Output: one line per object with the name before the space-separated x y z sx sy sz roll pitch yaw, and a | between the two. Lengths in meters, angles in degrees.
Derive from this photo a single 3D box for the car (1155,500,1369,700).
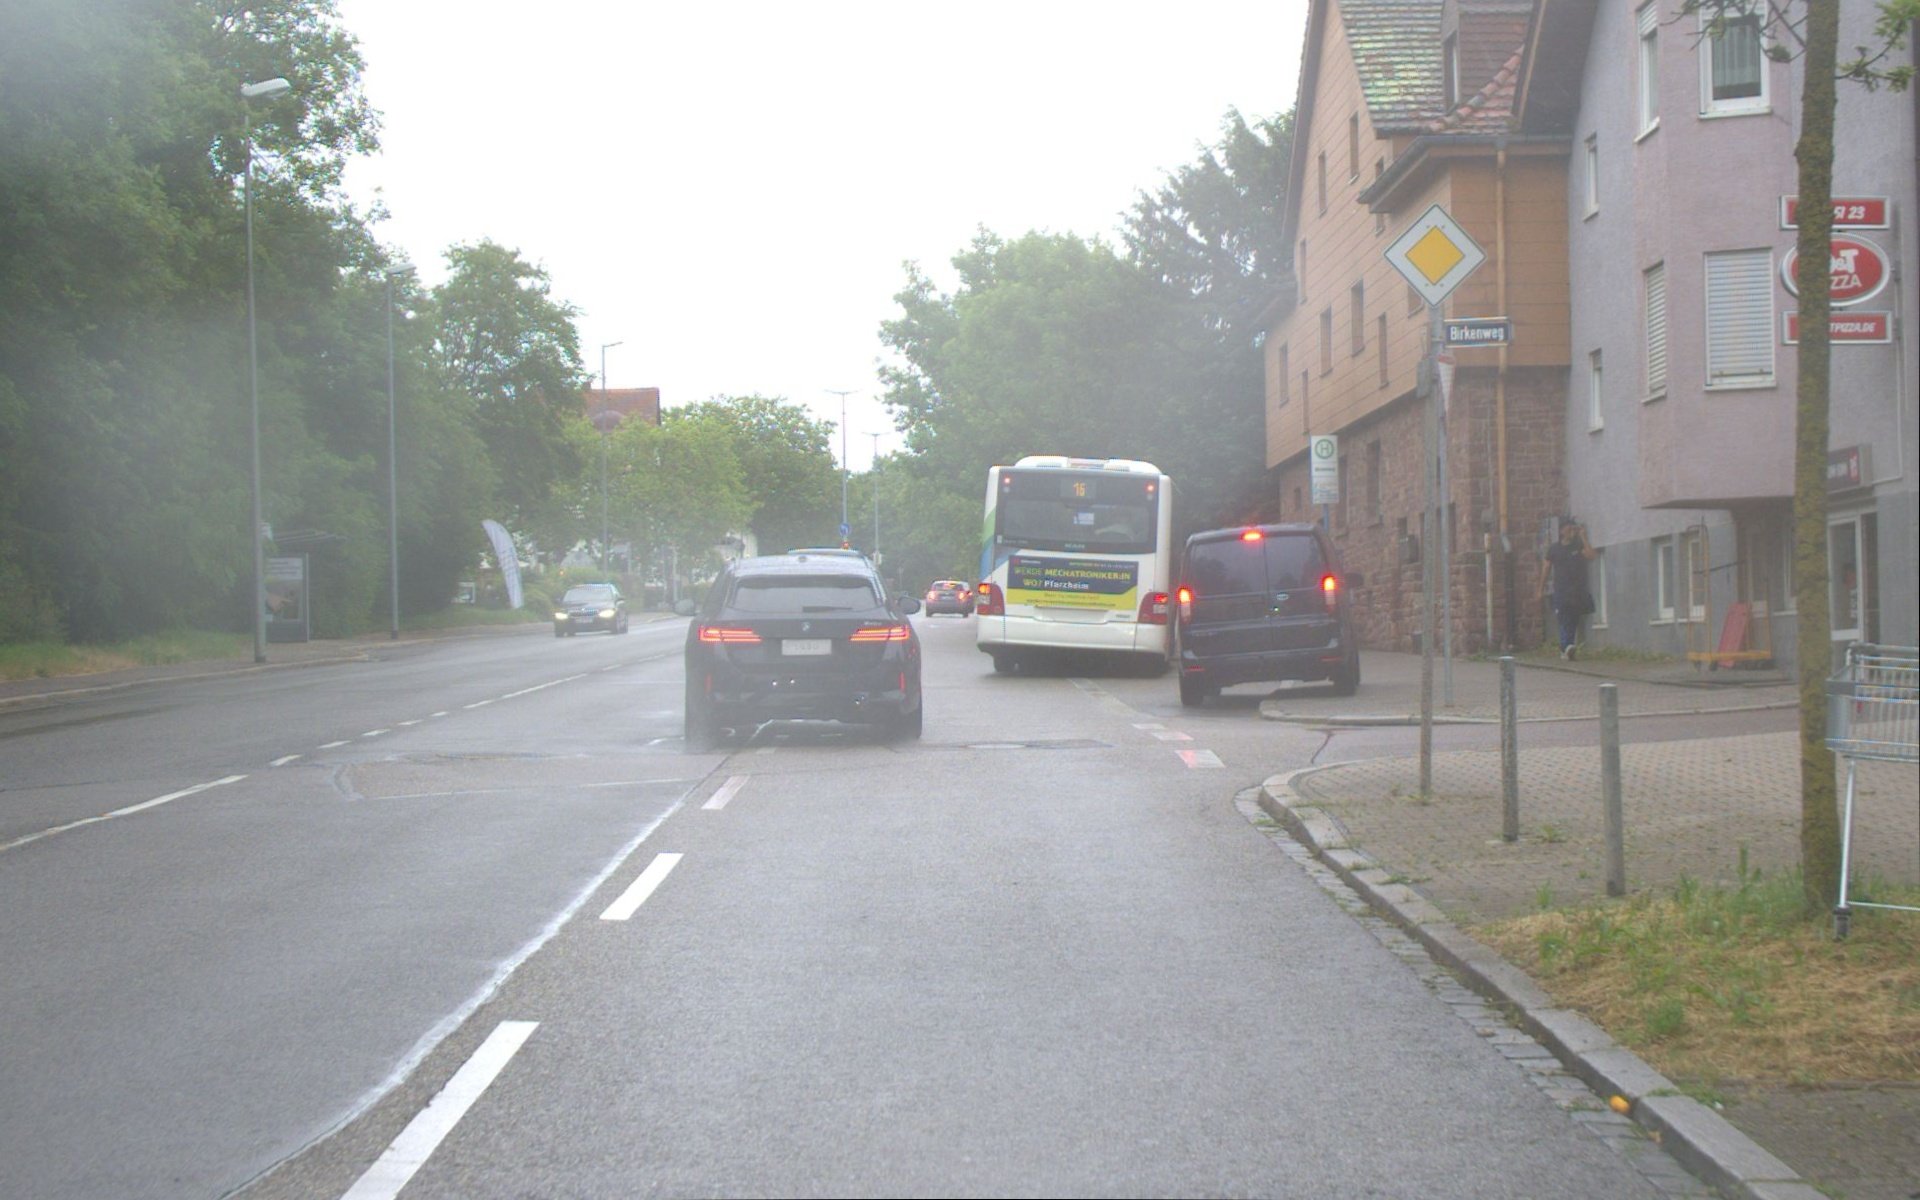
car | 3.330 -0.009 37.116 1.927 1.886 4.759 -4 0 8

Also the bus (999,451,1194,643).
bus | 2.141 -0.916 57.514 2.623 2.838 9.795 -2 1 -1

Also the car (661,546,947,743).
car | -1.371 0.317 28.568 1.993 1.448 4.001 2 1 -8

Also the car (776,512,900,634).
car | -2.062 -0.486 59.159 1.993 2.007 4.000 0 1 0

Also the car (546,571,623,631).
car | -10.548 0.009 96.852 1.770 1.528 4.000 -2 1 -1

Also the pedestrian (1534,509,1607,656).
pedestrian | 7.431 -0.214 41.879 0.690 1.748 0.669 -2 1 -1

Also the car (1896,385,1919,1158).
car | 3.073 0.422 5.636 1.824 1.766 4.541 -2 1 0

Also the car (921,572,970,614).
car | -0.599 -0.295 139.862 1.865 1.514 4.001 -1 2 -2

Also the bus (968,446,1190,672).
bus | 1.821 -0.637 48.734 2.623 2.838 8.287 -2 1 5
